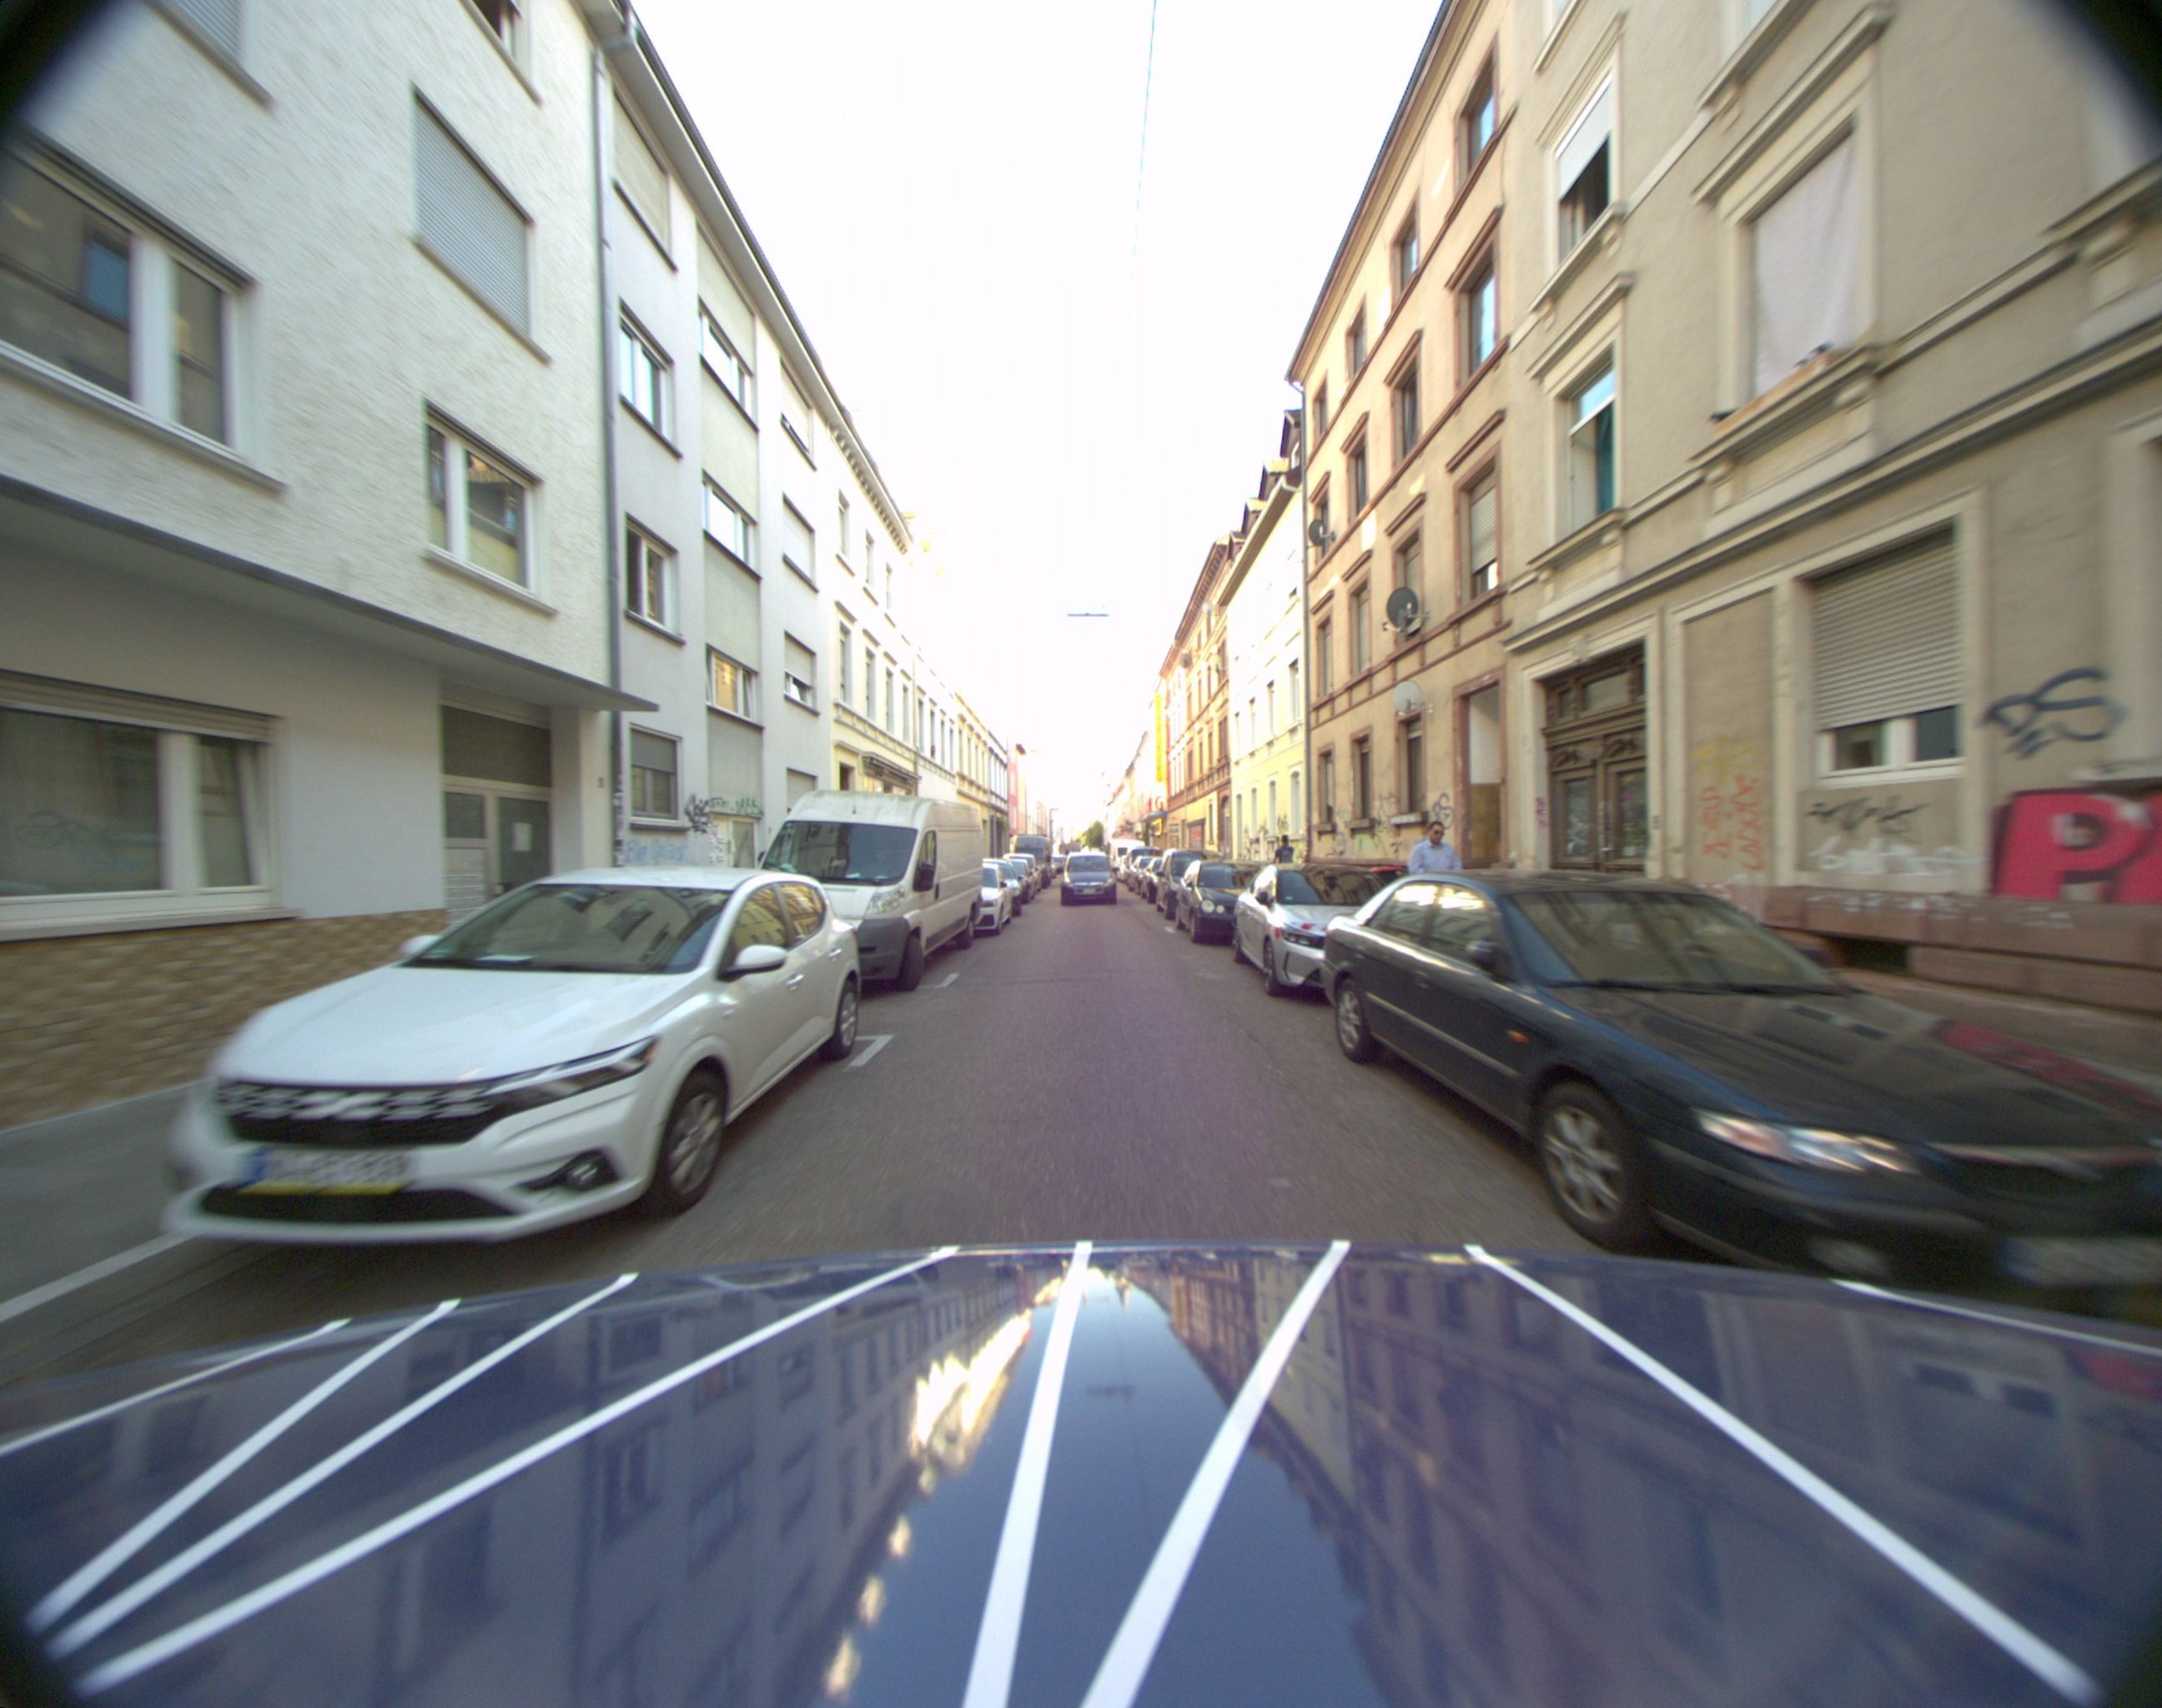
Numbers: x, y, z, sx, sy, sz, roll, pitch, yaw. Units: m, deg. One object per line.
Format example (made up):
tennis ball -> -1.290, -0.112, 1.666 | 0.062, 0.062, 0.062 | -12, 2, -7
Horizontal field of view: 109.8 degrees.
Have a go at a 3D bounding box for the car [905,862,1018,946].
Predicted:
car -> -2.402, 0.966, 16.184 | 1.683, 1.434, 3.859 | -3, 0, 1

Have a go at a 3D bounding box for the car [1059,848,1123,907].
car -> 0.286, 0.680, 25.072 | 1.798, 1.652, 5.183 | -3, 0, 0

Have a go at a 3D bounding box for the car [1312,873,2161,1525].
car -> 2.712, 0.910, 4.027 | 1.683, 1.454, 4.312 | -1, 0, 1

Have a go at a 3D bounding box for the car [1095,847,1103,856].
car -> 4.041, -0.580, 168.579 | 1.683, 1.851, 4.158 | -3, 1, 0

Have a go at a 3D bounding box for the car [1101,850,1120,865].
car -> 2.895, 0.358, 75.467 | 1.683, 1.381, 3.859 | -1, 0, 1

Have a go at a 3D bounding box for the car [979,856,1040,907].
car -> -2.382, 0.870, 26.173 | 1.683, 1.511, 3.859 | -3, 0, 0

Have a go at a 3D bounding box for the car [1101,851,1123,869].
car -> 2.549, 0.507, 62.438 | 1.683, 1.381, 3.859 | -1, 0, 1

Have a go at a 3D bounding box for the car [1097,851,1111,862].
car -> 2.877, 0.286, 94.630 | 1.683, 1.381, 3.859 | -1, 0, 1

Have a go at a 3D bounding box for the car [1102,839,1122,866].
car -> 2.816, -0.169, 69.413 | 1.683, 2.352, 4.098 | -1, 1, 1

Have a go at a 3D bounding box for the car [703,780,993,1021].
car -> -2.847, 0.477, 11.149 | 2.050, 2.498, 6.023 | -3, 0, 3

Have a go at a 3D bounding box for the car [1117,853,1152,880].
car -> 2.936, 0.661, 42.066 | 1.683, 1.381, 3.859 | -1, 0, 1

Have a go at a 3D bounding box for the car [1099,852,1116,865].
car -> 2.917, 0.515, 84.431 | 1.683, 1.381, 3.859 | -1, 0, 1

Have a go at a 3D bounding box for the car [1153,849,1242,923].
car -> 2.859, 0.718, 19.420 | 1.683, 1.674, 3.859 | -1, 1, 1

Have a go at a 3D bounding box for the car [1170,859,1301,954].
car -> 2.738, 0.862, 14.237 | 1.683, 1.454, 3.859 | -1, 0, 1

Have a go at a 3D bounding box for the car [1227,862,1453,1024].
car -> 2.831, 0.881, 9.171 | 1.683, 1.454, 3.861 | -1, 0, 5

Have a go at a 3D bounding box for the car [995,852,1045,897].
car -> -2.453, 0.791, 31.457 | 1.683, 1.626, 3.859 | -3, 0, 0

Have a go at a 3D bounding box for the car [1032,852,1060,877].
car -> -2.354, 0.692, 52.123 | 1.683, 1.588, 3.859 | -3, 0, 0

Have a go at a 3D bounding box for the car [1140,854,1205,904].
car -> 2.936, 0.765, 24.952 | 1.683, 1.448, 3.859 | -1, 0, 1

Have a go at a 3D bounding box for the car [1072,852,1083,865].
car -> -0.589, 0.762, 126.422 | 1.683, 2.078, 4.158 | -3, 1, 0

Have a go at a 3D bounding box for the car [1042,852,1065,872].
car -> -2.323, 0.639, 64.950 | 1.683, 1.588, 3.859 | -3, 0, 0

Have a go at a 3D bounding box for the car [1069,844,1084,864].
car -> -0.732, -0.013, 133.379 | 2.437, 3.404, 5.542 | -3, 1, 0

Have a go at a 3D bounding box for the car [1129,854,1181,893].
car -> 2.879, 0.727, 30.162 | 1.683, 1.407, 3.859 | -1, 0, 1

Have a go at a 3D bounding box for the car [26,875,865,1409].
car -> -2.621, 0.995, 4.441 | 1.684, 1.550, 3.859 | -3, 0, -2

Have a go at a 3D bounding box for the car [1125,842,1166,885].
car -> 3.076, 0.414, 36.784 | 1.751, 1.880, 4.771 | -1, 0, 3

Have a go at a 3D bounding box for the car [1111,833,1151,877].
car -> 3.091, 0.061, 48.101 | 2.094, 2.576, 5.842 | -1, 1, 0

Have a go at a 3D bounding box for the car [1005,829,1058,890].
car -> -2.328, 0.224, 37.622 | 2.050, 2.662, 6.185 | -3, 0, 1

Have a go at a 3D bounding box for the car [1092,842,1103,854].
car -> 4.232, -1.469, 198.661 | 2.565, 3.030, 7.060 | -3, 0, 0

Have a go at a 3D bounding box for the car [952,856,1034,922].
car -> -2.329, 0.879, 21.010 | 1.683, 1.556, 3.860 | -3, 0, 1

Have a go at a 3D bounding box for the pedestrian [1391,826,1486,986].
pedestrian -> 4.259, 0.599, 9.085 | 0.790, 1.820, 0.594 | -3, 1, 1

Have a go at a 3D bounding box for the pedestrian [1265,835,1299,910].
pedestrian -> 5.050, 0.453, 19.088 | 0.626, 1.820, 0.594 | -3, 1, 1
